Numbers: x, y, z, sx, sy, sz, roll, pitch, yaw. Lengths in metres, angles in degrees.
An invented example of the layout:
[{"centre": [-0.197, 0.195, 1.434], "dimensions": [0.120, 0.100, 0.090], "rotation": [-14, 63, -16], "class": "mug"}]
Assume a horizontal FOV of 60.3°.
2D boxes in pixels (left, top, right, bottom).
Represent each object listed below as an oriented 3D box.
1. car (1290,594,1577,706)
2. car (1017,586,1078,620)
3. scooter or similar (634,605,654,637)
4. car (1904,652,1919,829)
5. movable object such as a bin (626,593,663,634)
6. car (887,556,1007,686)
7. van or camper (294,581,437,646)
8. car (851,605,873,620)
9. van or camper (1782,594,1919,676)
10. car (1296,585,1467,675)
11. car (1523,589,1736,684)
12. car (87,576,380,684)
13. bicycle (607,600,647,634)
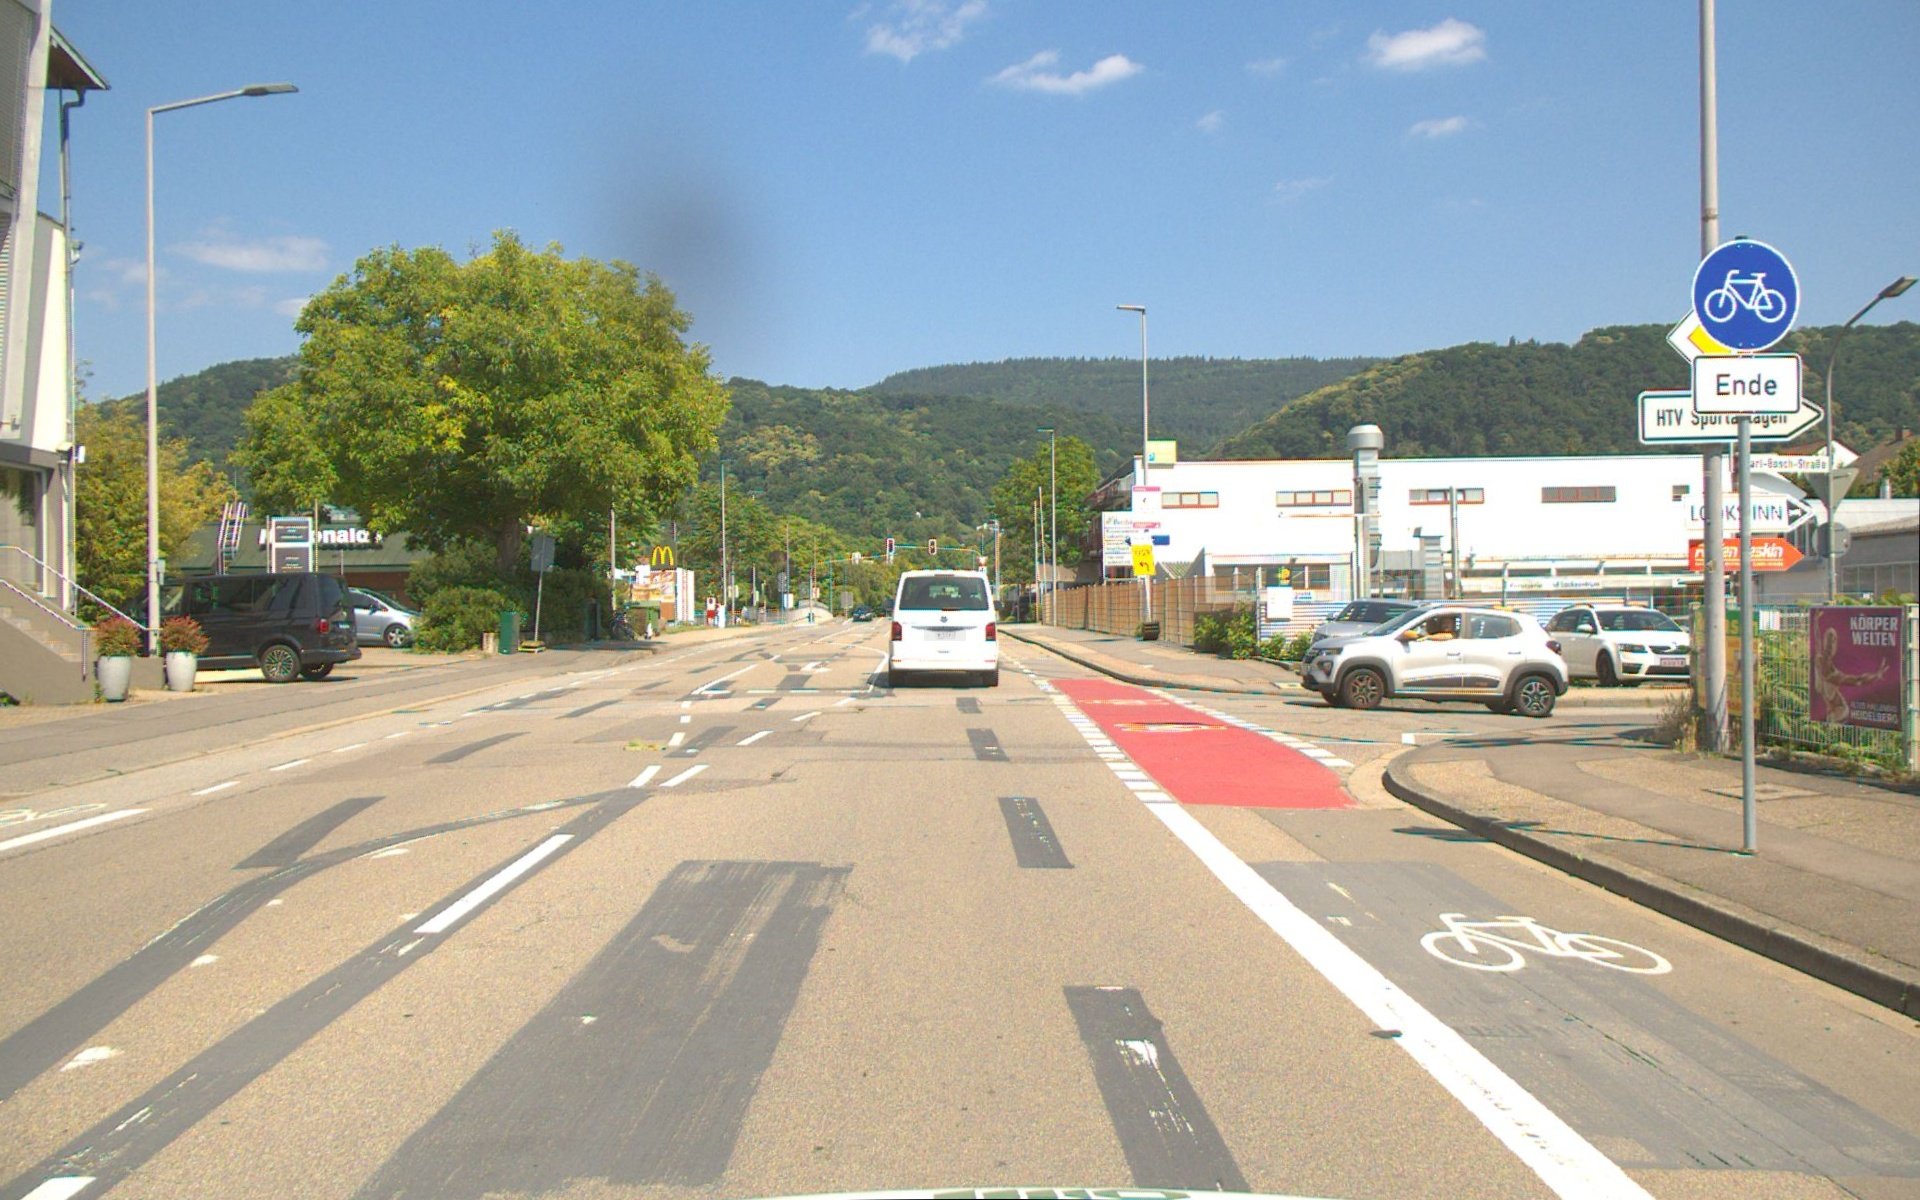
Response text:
[{"centre": [6.653, 0.680, 23.487], "dimensions": [3.590, 1.510, 1.727], "rotation": [0, 0, -1], "class": "car"}, {"centre": [5.784, 0.177, 108.697], "dimensions": [3.903, 2.108, 2.001], "rotation": [-1, 0, 5], "class": "car"}, {"centre": [-11.877, 0.795, 62.160], "dimensions": [0.634, 1.147, 1.620], "rotation": [2, 0, -8], "class": "scooter or similar"}, {"centre": [9.348, 1.098, 12.136], "dimensions": [3.903, 1.369, 1.607], "rotation": [0, 0, 4], "class": "car"}, {"centre": [-12.932, 0.555, 67.864], "dimensions": [1.422, 1.618, 1.304], "rotation": [-2, 0, -10], "class": "movable object such as a bin"}, {"centre": [-0.317, 0.338, 29.330], "dimensions": [1.896, 2.095, 4.541], "rotation": [-1, 0, -3], "class": "car"}, {"centre": [-16.435, 0.358, 45.792], "dimensions": [3.322, 1.694, 1.633], "rotation": [1, 0, 0], "class": "van or camper"}, {"centre": [-9.182, 1.166, 154.949], "dimensions": [1.954, 1.394, 4.324], "rotation": [-1, 0, -3], "class": "car"}, {"centre": [17.087, 0.657, 30.057], "dimensions": [1.954, 1.374, 4.227], "rotation": [5, 0, -3], "class": "van or camper"}, {"centre": [7.621, 0.564, 29.595], "dimensions": [1.915, 1.382, 4.490], "rotation": [3, -1, 28], "class": "car"}, {"centre": [11.774, 0.590, 29.440], "dimensions": [1.810, 1.530, 4.504], "rotation": [-1, 0, -2], "class": "car"}, {"centre": [-13.235, 0.518, 30.404], "dimensions": [4.479, 1.898, 2.090], "rotation": [0, 0, -7], "class": "car"}, {"centre": [-11.737, 0.586, 58.431], "dimensions": [1.006, 1.137, 2.763], "rotation": [2, 0, -4], "class": "bicycle"}]
